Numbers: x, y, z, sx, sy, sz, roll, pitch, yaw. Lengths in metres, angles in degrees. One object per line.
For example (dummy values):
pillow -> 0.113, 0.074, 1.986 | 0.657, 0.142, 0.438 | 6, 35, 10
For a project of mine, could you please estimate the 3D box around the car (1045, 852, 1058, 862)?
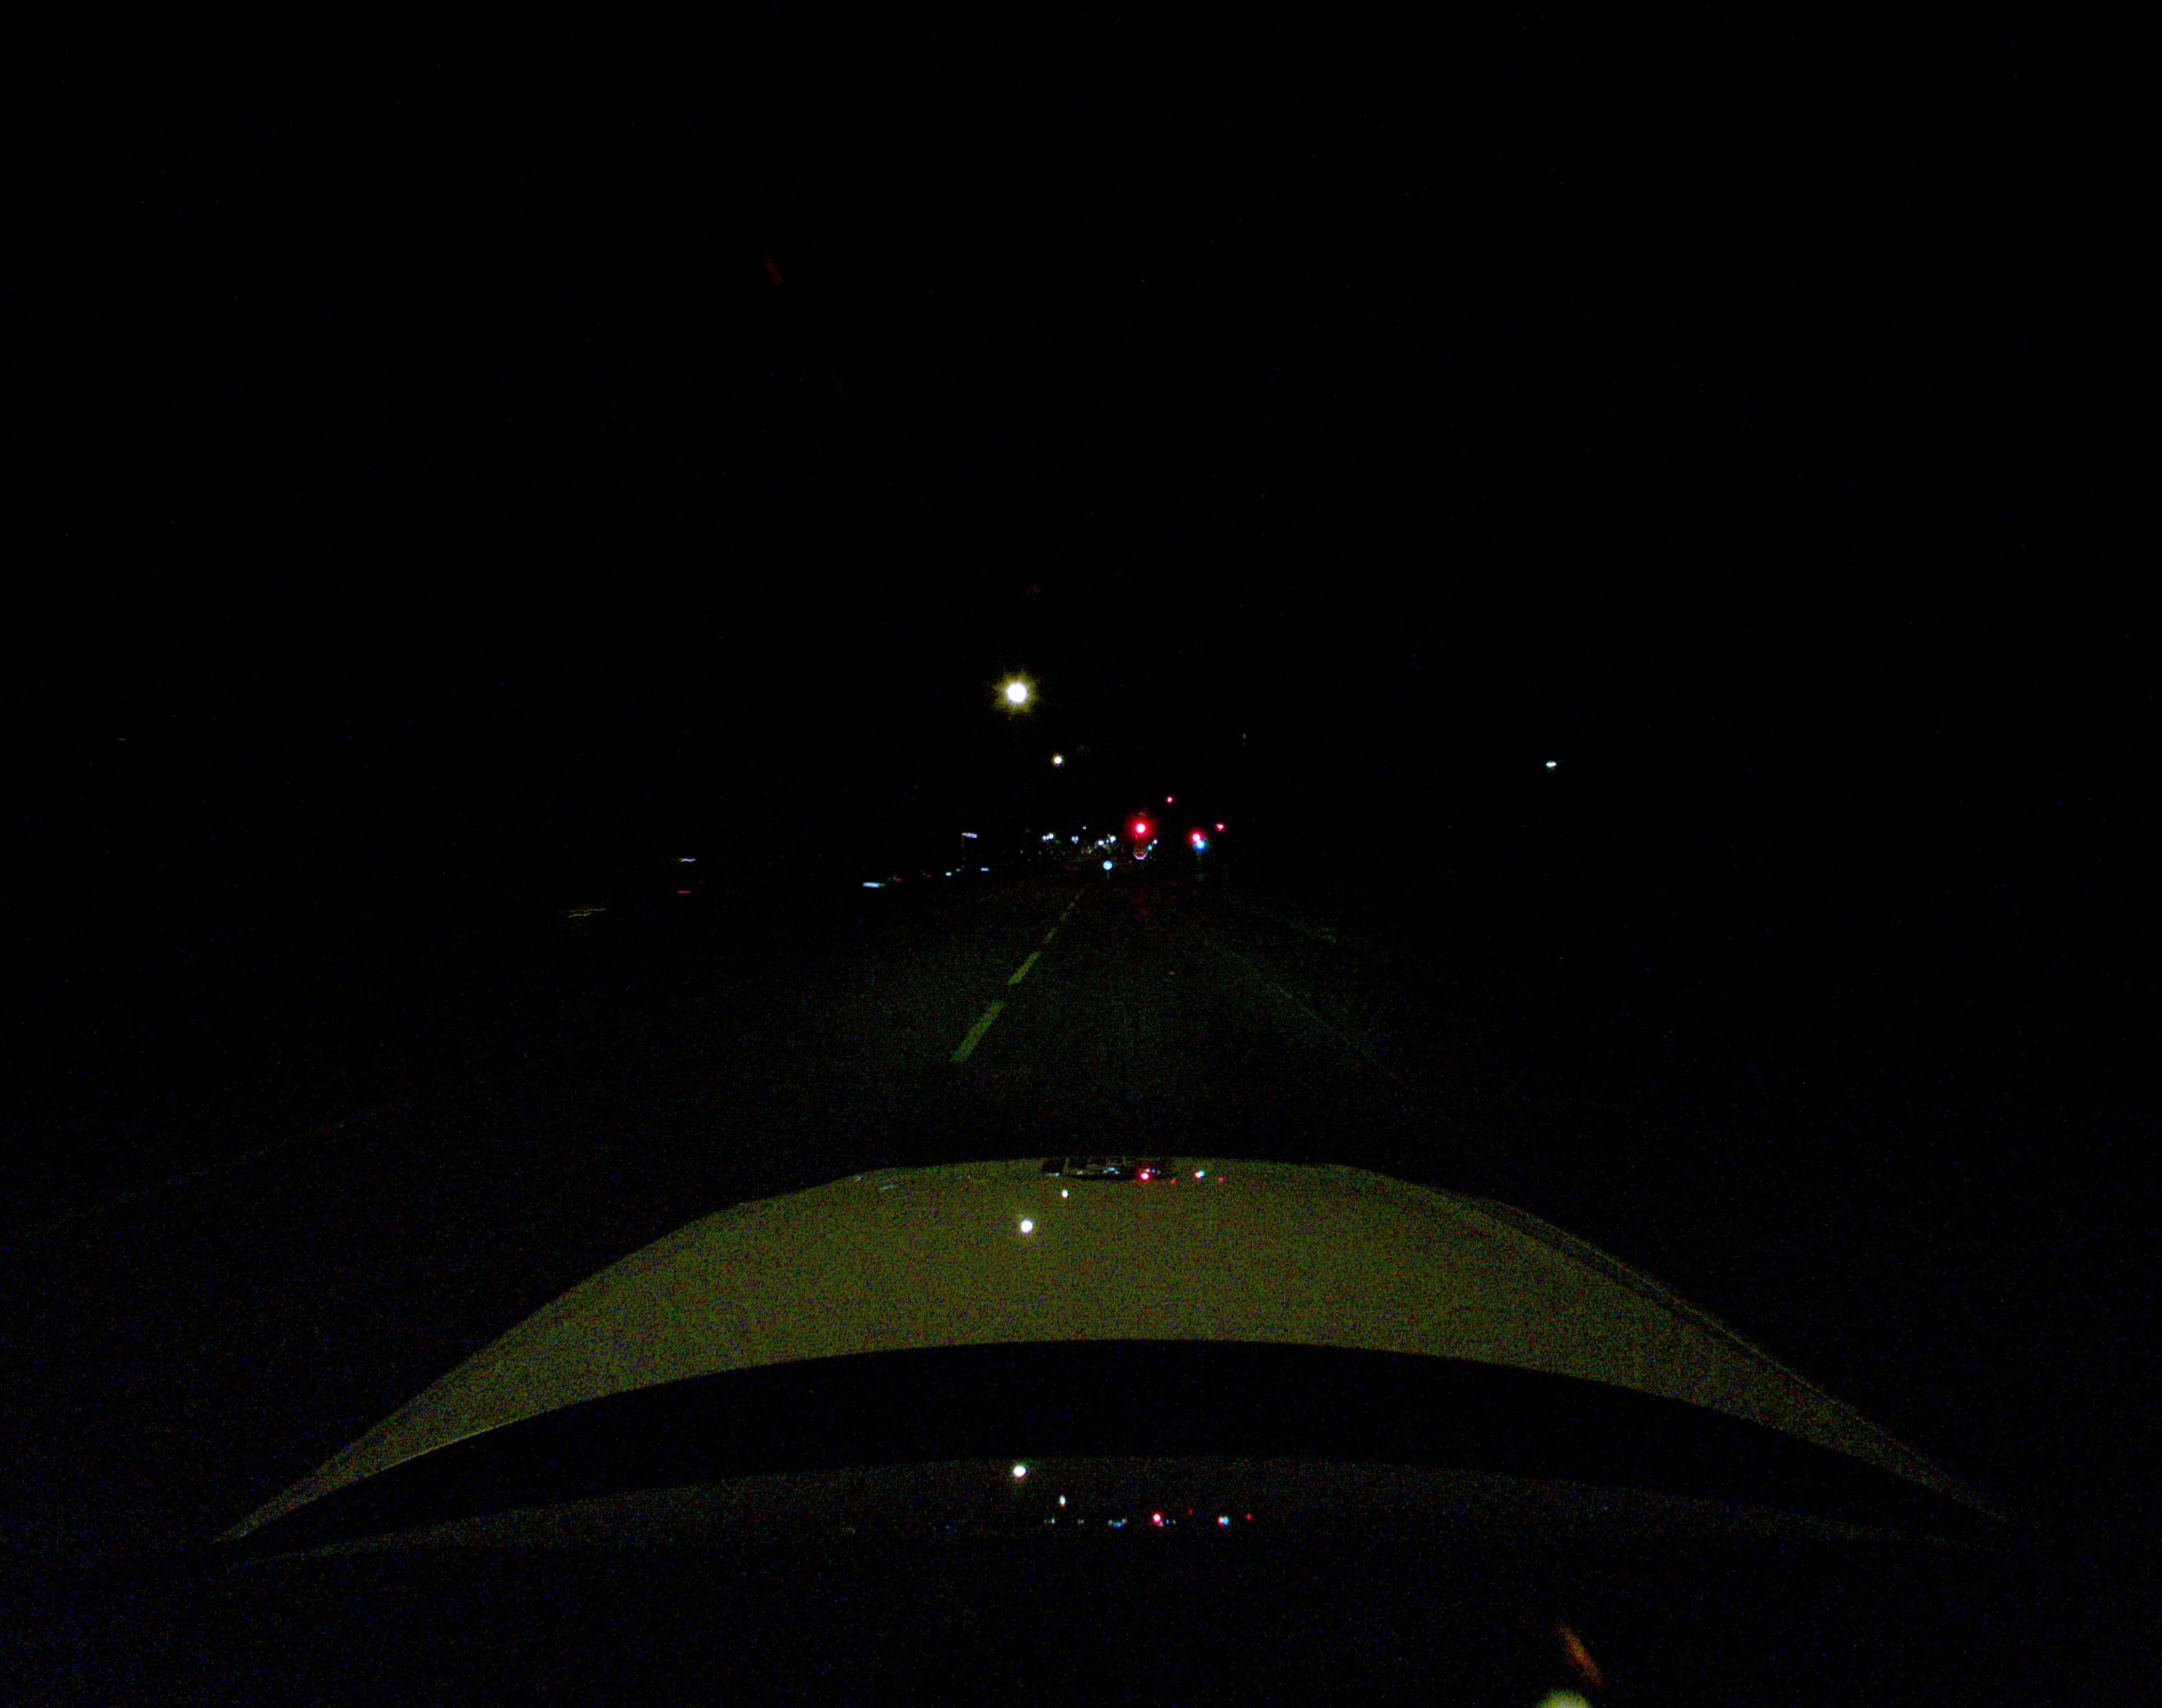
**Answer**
car -> -4.237, 0.454, 117.694 | 1.645, 1.431, 4.002 | 0, 0, 2

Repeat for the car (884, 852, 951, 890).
car -> -6.826, 0.657, 34.498 | 1.762, 1.486, 4.864 | 0, 0, 1

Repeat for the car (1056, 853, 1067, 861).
car -> -3.376, 0.533, 138.311 | 1.645, 1.431, 4.002 | 0, 0, 2

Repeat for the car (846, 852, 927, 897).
car -> -6.916, 0.677, 29.433 | 1.762, 1.486, 4.767 | 0, 0, 0

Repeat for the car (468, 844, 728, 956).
car -> -7.501, 0.626, 13.183 | 1.708, 1.494, 3.991 | 1, 0, 1

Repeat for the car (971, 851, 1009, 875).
car -> -6.227, 0.586, 56.002 | 1.892, 1.471, 4.454 | 2, 1, 2

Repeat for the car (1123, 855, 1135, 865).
car -> 6.707, 0.791, 113.870 | 1.644, 1.431, 4.003 | 0, 0, 3

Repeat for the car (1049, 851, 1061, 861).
car -> -3.926, 0.278, 124.579 | 1.645, 1.431, 4.002 | 0, 0, 2

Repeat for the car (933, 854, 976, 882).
car -> -6.592, 0.693, 42.839 | 1.617, 1.383, 4.450 | 0, 0, -1

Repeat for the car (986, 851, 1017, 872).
car -> -5.934, 0.526, 60.993 | 1.797, 1.481, 4.324 | 1, 0, 1
